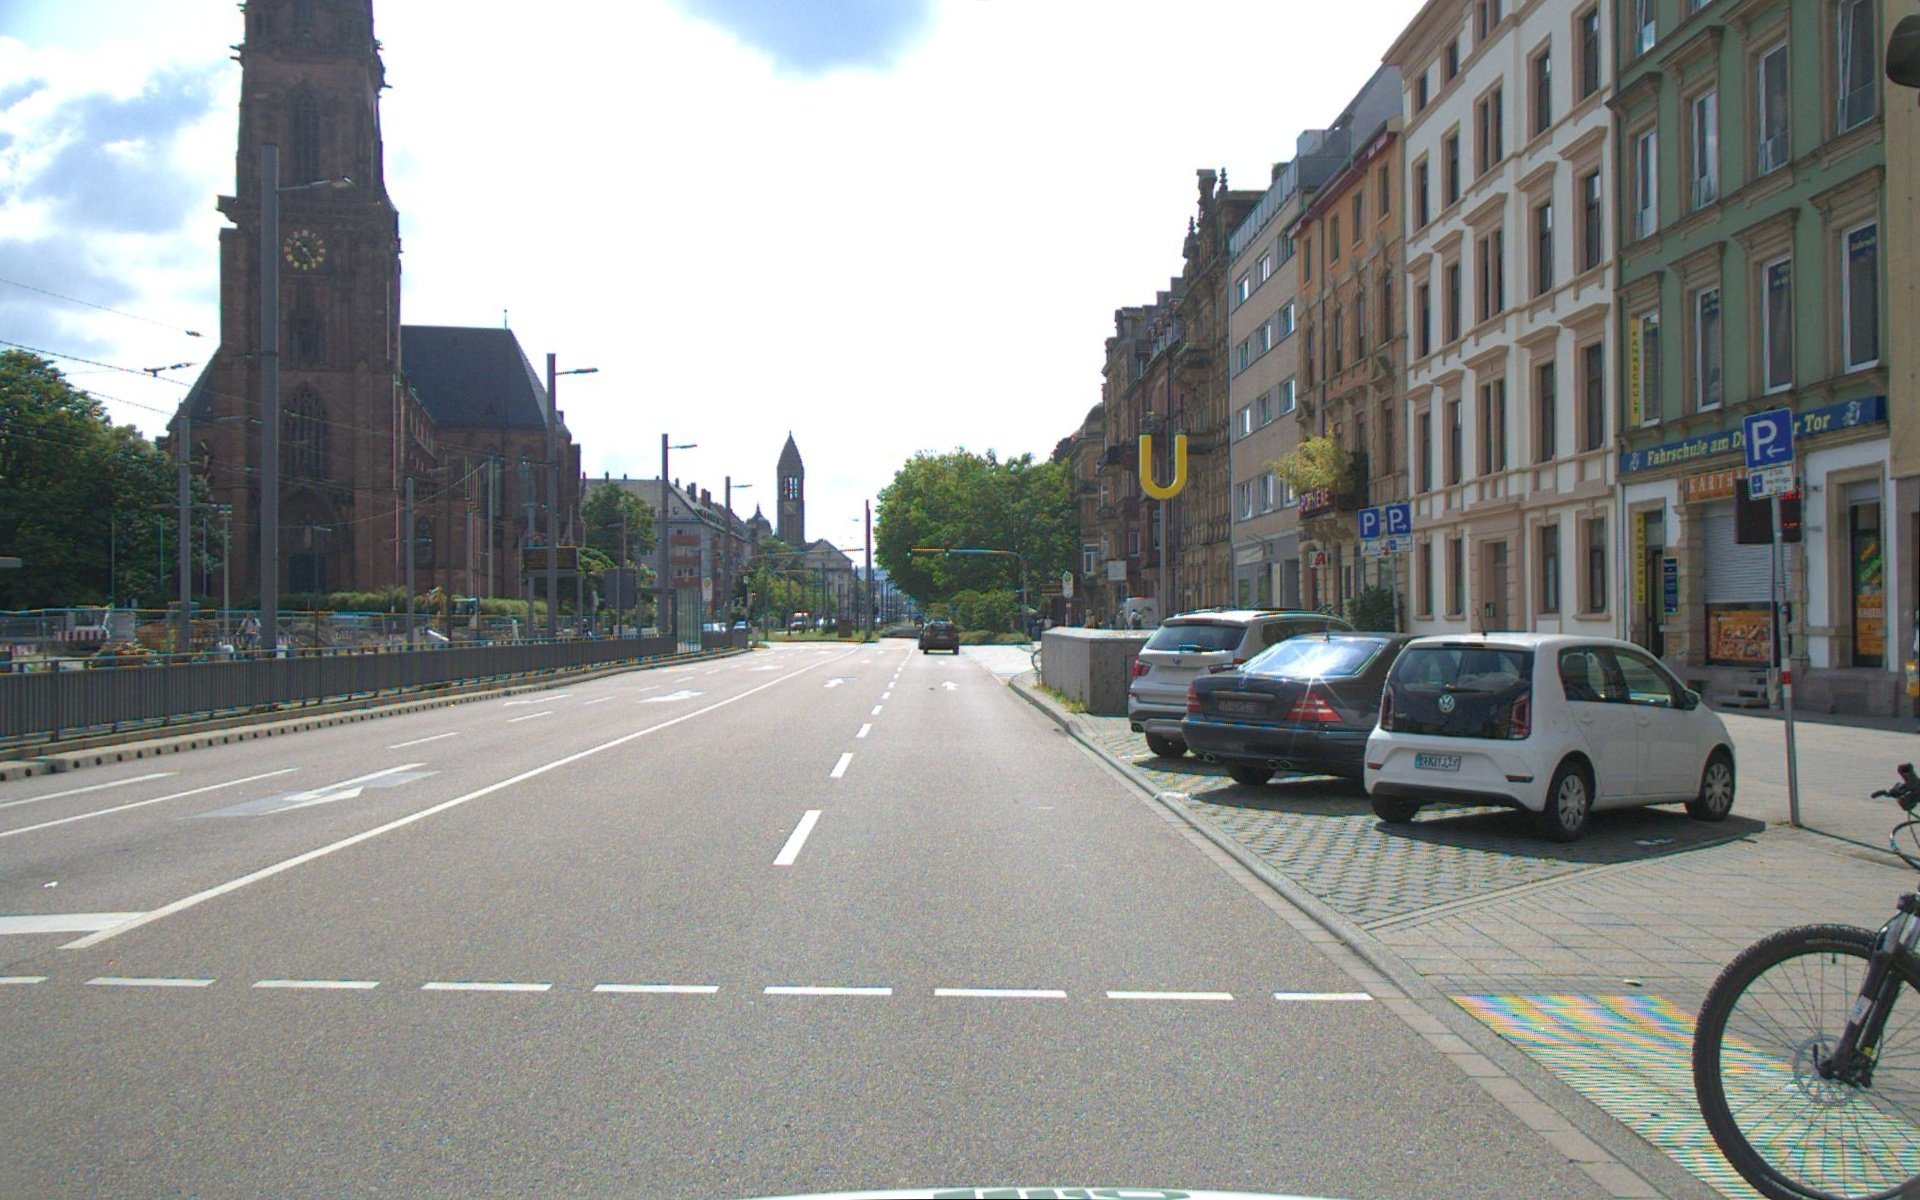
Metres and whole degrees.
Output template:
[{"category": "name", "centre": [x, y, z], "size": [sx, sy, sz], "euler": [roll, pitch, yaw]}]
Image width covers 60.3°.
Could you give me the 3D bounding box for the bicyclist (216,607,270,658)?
[{"category": "bicyclist", "centre": [-24.367, 1.097, 56.249], "size": [1.154, 1.713, 1.683], "euler": [-1, -1, -3]}]

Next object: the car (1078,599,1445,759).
[{"category": "car", "centre": [3.674, 0.850, 19.650], "size": [4.561, 1.676, 2.028], "euler": [0, -1, -44]}]

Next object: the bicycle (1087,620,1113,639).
[{"category": "bicycle", "centre": [9.834, 2.053, 116.181], "size": [1.732, 1.290, 0.467], "euler": [0, 1, 2]}]

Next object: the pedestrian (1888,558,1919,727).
[{"category": "pedestrian", "centre": [12.041, 0.512, 20.552], "size": [0.589, 2.048, 0.460], "euler": [-6, 1, -1]}]

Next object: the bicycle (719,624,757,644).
[{"category": "bicycle", "centre": [-12.895, 1.958, 96.133], "size": [1.975, 1.146, 0.932], "euler": [-1, -1, 9]}]

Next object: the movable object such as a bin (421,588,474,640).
[{"category": "movable object such as a bin", "centre": [-32.528, 0.889, 105.110], "size": [1.952, 3.159, 4.002], "euler": [0, 1, 3]}]

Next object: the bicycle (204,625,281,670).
[{"category": "bicycle", "centre": [-24.370, 1.584, 56.248], "size": [1.169, 1.452, 3.691], "euler": [-1, -1, -3]}]

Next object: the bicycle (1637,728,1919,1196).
[{"category": "bicycle", "centre": [2.899, 0.966, 4.338], "size": [2.052, 1.125, 0.544], "euler": [0, 1, 26]}]

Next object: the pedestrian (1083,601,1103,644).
[{"category": "pedestrian", "centre": [6.093, 1.024, 75.621], "size": [0.653, 1.936, 0.690], "euler": [0, -1, -20]}]

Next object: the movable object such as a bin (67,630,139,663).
[{"category": "movable object such as a bin", "centre": [-42.150, 2.248, 81.482], "size": [1.960, 1.529, 5.136], "euler": [0, -1, -14]}]

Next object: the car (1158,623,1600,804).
[{"category": "car", "centre": [4.135, 0.978, 15.919], "size": [4.559, 1.486, 1.910], "euler": [1, -1, -41]}]

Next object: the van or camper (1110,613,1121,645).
[{"category": "van or camper", "centre": [10.042, 1.865, 106.878], "size": [0.652, 2.049, 0.638], "euler": [-1, -1, -1]}]

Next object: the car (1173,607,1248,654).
[{"category": "car", "centre": [10.612, 1.299, 70.320], "size": [1.955, 1.895, 4.745], "euler": [0, -1, -7]}]

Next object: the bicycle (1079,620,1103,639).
[{"category": "bicycle", "centre": [9.411, 2.122, 119.033], "size": [1.732, 1.290, 0.467], "euler": [0, 1, 2]}]

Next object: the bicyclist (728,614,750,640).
[{"category": "bicyclist", "centre": [-12.866, 1.559, 96.180], "size": [1.066, 1.462, 0.825], "euler": [-1, -1, 9]}]

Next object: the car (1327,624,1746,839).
[{"category": "car", "centre": [4.674, 0.950, 13.230], "size": [3.466, 1.479, 1.752], "euler": [2, -2, -42]}]

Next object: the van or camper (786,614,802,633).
[{"category": "van or camper", "centre": [-24.558, 3.478, 244.601], "size": [2.211, 2.786, 6.197], "euler": [-1, -1, -4]}]

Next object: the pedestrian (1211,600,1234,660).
[{"category": "pedestrian", "centre": [9.593, 1.097, 60.442], "size": [0.706, 2.136, 0.786], "euler": [0, 1, -1]}]

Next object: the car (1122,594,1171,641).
[{"category": "car", "centre": [10.389, 0.970, 92.617], "size": [1.953, 2.570, 5.887], "euler": [0, -1, -1]}]

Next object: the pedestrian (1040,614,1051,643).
[{"category": "pedestrian", "centre": [6.198, 2.051, 119.868], "size": [0.752, 2.049, 0.715], "euler": [-1, -1, -1]}]

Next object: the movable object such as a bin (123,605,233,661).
[{"category": "movable object such as a bin", "centre": [-42.481, 1.776, 89.926], "size": [5.042, 2.962, 1.996], "euler": [0, -1, -9]}]

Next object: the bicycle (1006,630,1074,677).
[{"category": "bicycle", "centre": [2.286, 1.522, 47.163], "size": [1.892, 1.259, 0.439], "euler": [-1, 1, -15]}]

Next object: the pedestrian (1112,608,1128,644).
[{"category": "pedestrian", "centre": [8.339, 1.334, 86.114], "size": [0.650, 1.869, 0.693], "euler": [-1, -1, -8]}]

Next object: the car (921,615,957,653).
[{"category": "car", "centre": [-1.080, 1.713, 83.587], "size": [1.655, 1.741, 3.607], "euler": [0, 1, -3]}]

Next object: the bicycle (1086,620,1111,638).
[{"category": "bicycle", "centre": [9.791, 2.040, 116.720], "size": [1.709, 1.290, 0.467], "euler": [0, 1, 2]}]

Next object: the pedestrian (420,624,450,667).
[{"category": "pedestrian", "centre": [-24.933, 2.152, 78.592], "size": [1.043, 2.049, 1.051], "euler": [-1, -1, 2]}]
